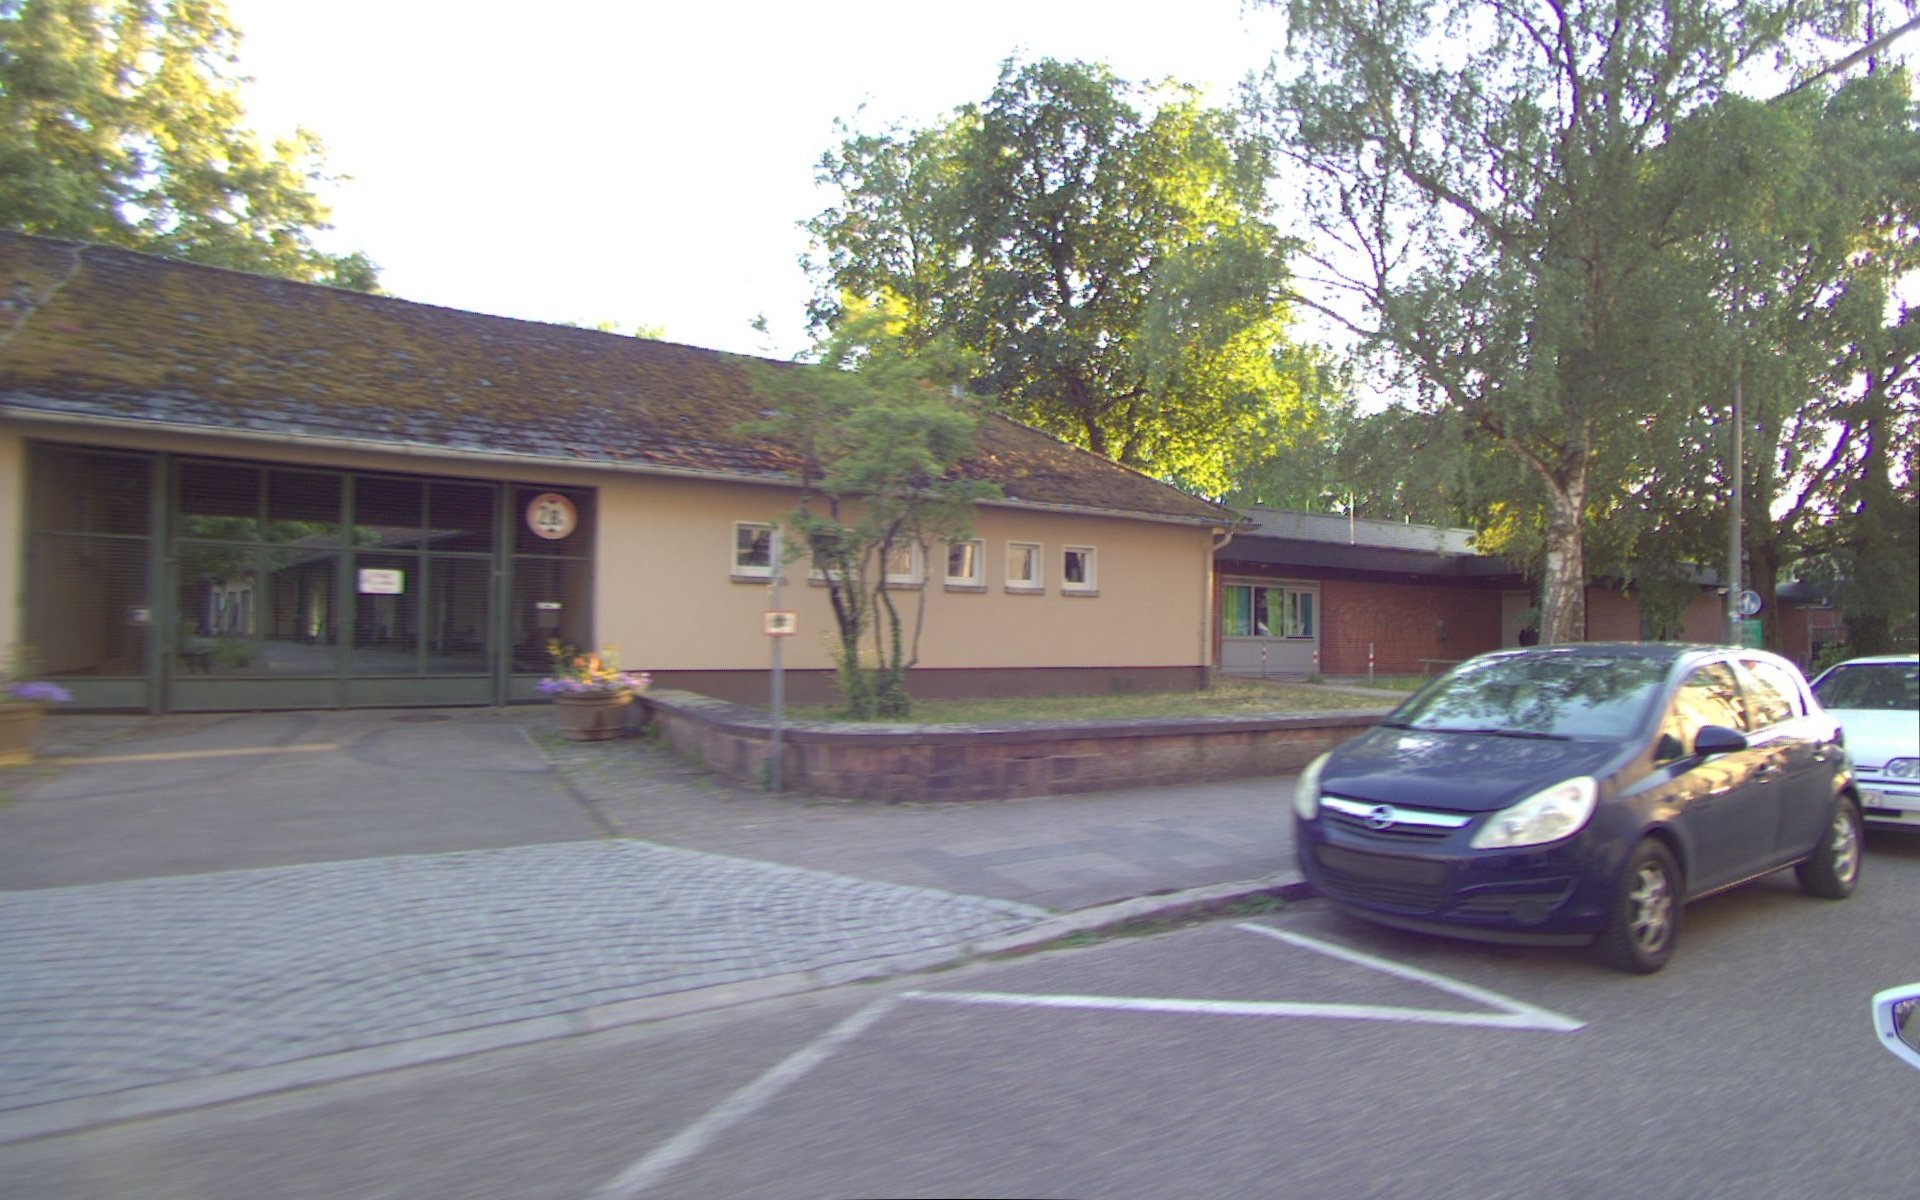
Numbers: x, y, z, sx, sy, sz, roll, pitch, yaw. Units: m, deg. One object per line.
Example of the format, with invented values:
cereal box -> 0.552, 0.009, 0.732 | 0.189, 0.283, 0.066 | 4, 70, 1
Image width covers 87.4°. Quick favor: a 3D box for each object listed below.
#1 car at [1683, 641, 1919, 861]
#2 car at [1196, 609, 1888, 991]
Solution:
car -> 8.146, 1.099, 8.359 | 4.695, 1.464, 1.773 | 2, -4, -32
car -> 3.491, 0.832, 5.845 | 3.959, 1.472, 1.981 | 2, -1, -34
